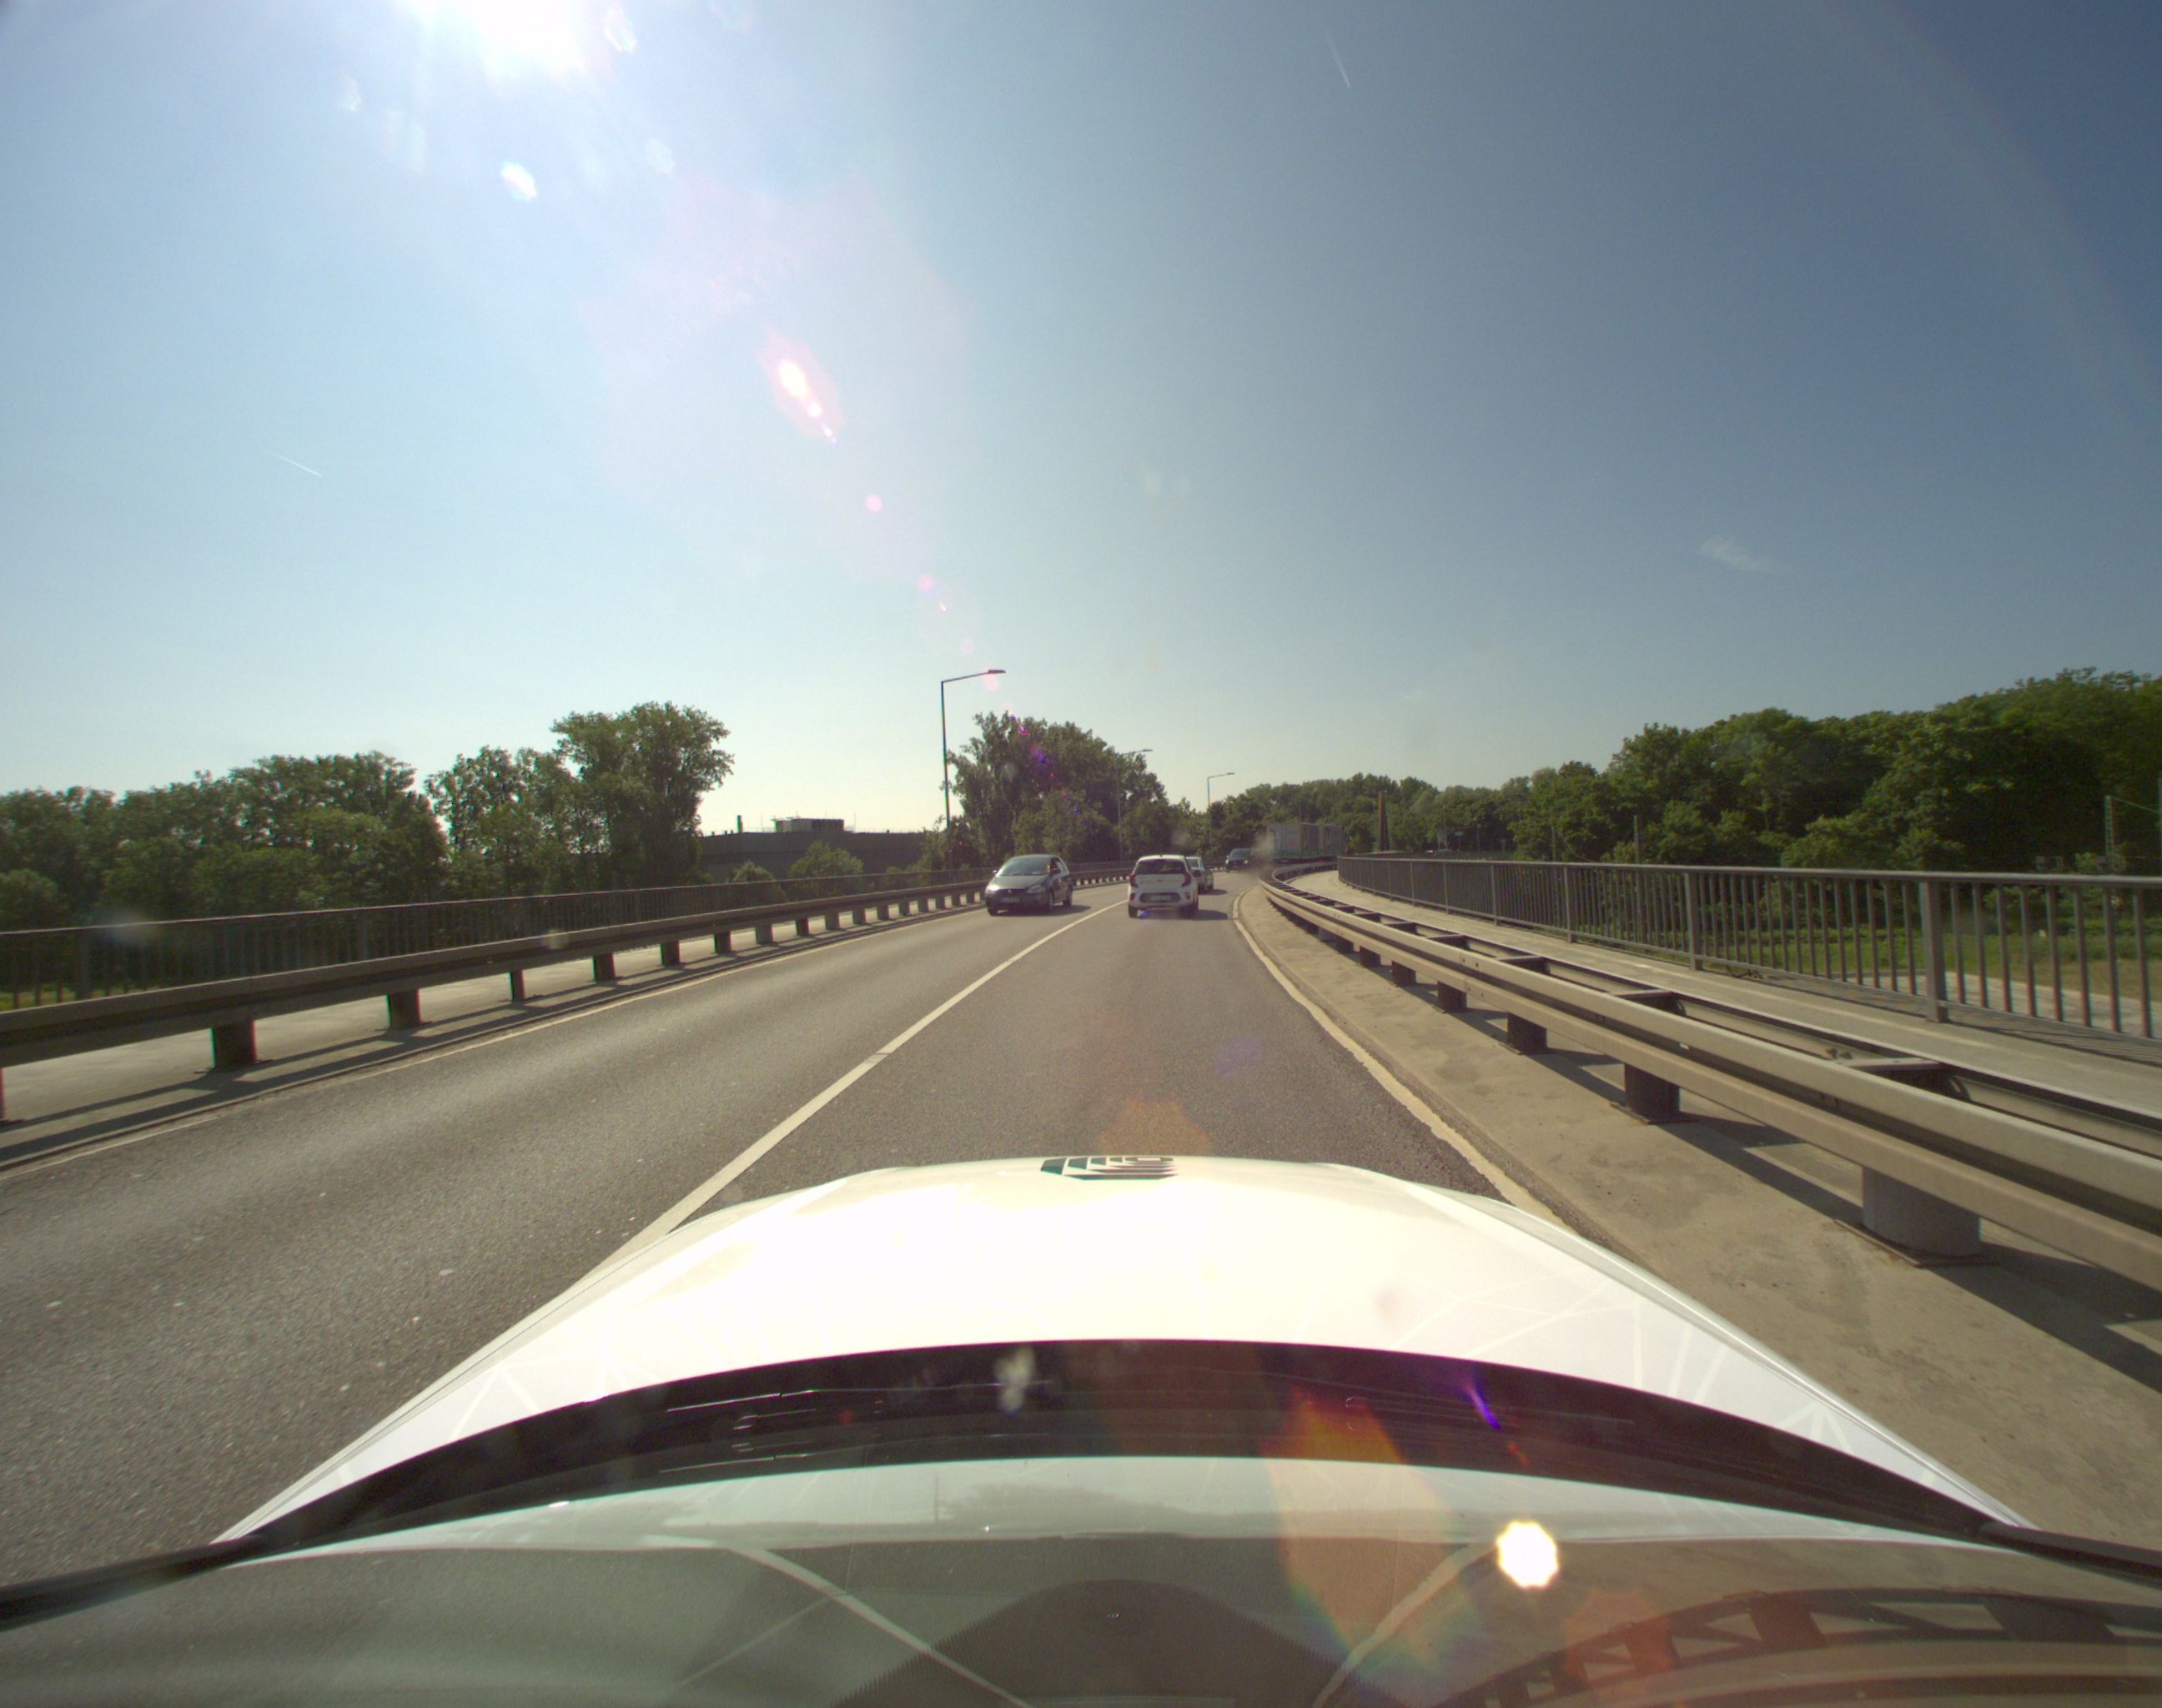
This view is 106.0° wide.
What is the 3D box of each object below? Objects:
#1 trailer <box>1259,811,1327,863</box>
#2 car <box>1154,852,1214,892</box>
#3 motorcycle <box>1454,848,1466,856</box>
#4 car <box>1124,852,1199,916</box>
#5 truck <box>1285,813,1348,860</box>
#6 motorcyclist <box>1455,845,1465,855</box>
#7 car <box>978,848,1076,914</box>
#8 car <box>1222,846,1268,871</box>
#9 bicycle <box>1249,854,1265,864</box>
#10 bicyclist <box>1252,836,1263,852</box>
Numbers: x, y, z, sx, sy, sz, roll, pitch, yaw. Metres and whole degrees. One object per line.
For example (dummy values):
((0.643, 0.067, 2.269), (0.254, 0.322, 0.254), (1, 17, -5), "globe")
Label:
((16.532, -1.322, 63.005), (3.194, 3.758, 7.873), (1, 2, 29), "trailer")
((4.226, 0.675, 32.797), (1.926, 1.486, 4.917), (-1, 0, 13), "car")
((73.557, -0.434, 158.023), (0.898, 1.529, 1.971), (0, -1, -17), "motorcycle")
((2.168, 0.721, 21.044), (1.692, 1.494, 4.010), (0, -1, 9), "car")
((20.235, -1.474, 69.568), (3.229, 3.758, 8.423), (1, 2, 30), "truck")
((73.571, -0.774, 158.019), (0.892, 1.870, 1.455), (0, -1, -17), "motorcyclist")
((-1.412, 0.672, 23.020), (1.721, 1.625, 4.316), (-2, 1, 10), "car")
((13.080, 0.348, 64.622), (2.056, 1.888, 5.949), (-1, -1, 26), "car")
((17.118, 0.504, 79.247), (0.919, 0.891, 1.979), (-1, 0, 29), "bicycle")
((17.175, -0.985, 79.233), (0.654, 1.496, 1.023), (-1, 2, 31), "bicyclist")
